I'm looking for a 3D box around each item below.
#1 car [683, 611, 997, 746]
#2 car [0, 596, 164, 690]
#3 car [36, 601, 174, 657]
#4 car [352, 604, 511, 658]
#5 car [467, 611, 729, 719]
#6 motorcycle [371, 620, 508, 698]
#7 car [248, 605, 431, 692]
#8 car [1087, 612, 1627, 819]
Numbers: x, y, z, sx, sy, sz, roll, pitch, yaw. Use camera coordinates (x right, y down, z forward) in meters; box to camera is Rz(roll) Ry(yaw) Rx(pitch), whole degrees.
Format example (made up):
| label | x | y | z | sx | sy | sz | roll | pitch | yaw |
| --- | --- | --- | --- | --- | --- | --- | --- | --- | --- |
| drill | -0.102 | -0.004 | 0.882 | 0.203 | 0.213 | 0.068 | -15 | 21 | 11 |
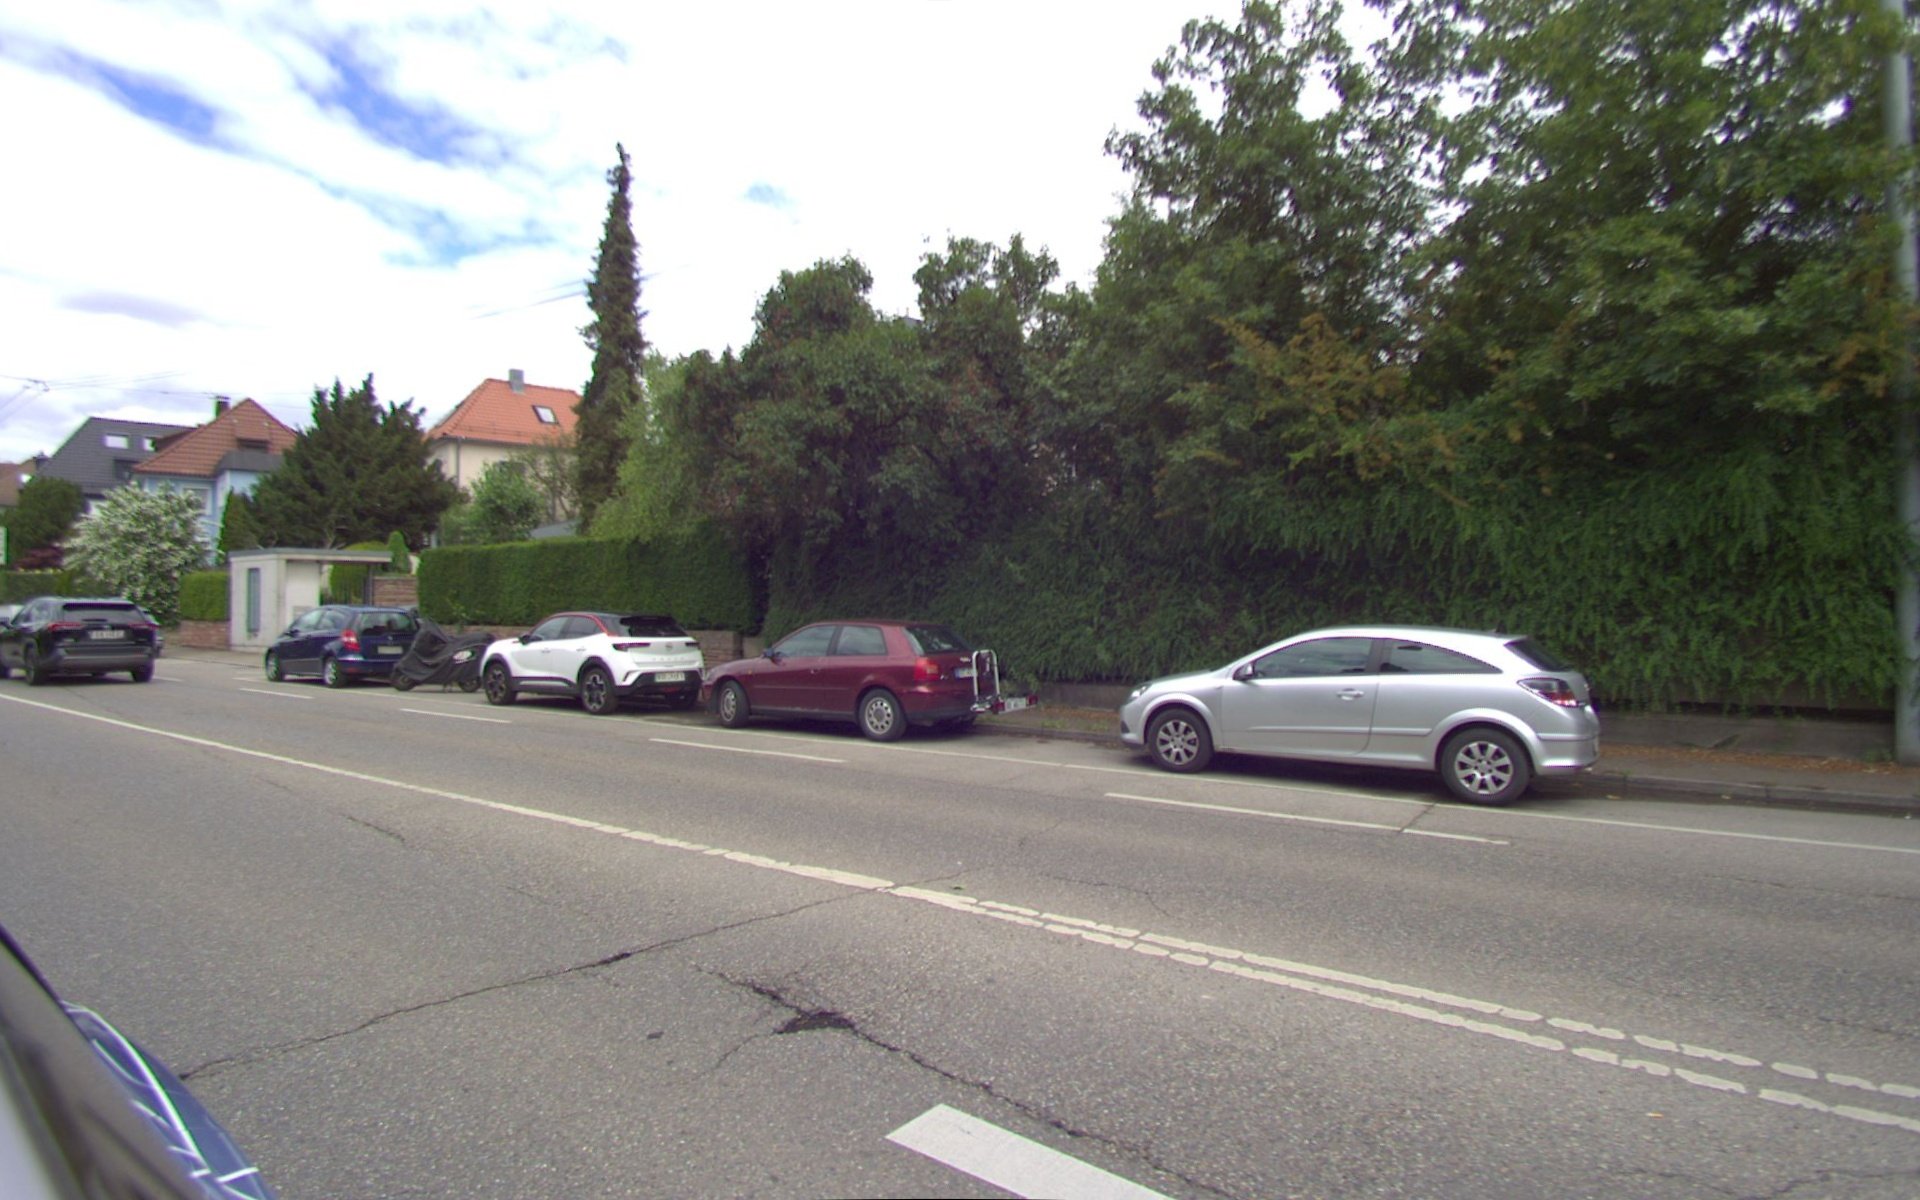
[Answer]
| label | x | y | z | sx | sy | sz | roll | pitch | yaw |
| --- | --- | --- | --- | --- | --- | --- | --- | --- | --- |
| car | -1.607 | 0.910 | 13.060 | 3.900 | 1.489 | 1.656 | 0 | -2 | 34 |
| car | -17.576 | 0.764 | 19.938 | 4.203 | 1.659 | 1.827 | 0 | -1 | 35 |
| car | -24.387 | 0.814 | 28.819 | 4.401 | 1.466 | 1.794 | 0 | -3 | 34 |
| car | -14.720 | 0.822 | 28.289 | 1.850 | 1.401 | 3.548 | 0 | -1 | 43 |
| car | -5.765 | 0.947 | 16.005 | 4.016 | 1.506 | 1.874 | 0 | -2 | 34 |
| motorcycle | -9.515 | 1.076 | 18.503 | 2.288 | 1.366 | 0.883 | -2 | -3 | 19 |
| car | -12.629 | 0.932 | 20.537 | 3.962 | 1.568 | 1.664 | 0 | -2 | 35 |
| car | 3.533 | 0.884 | 9.400 | 4.420 | 1.499 | 1.655 | 0 | -2 | 35 |
